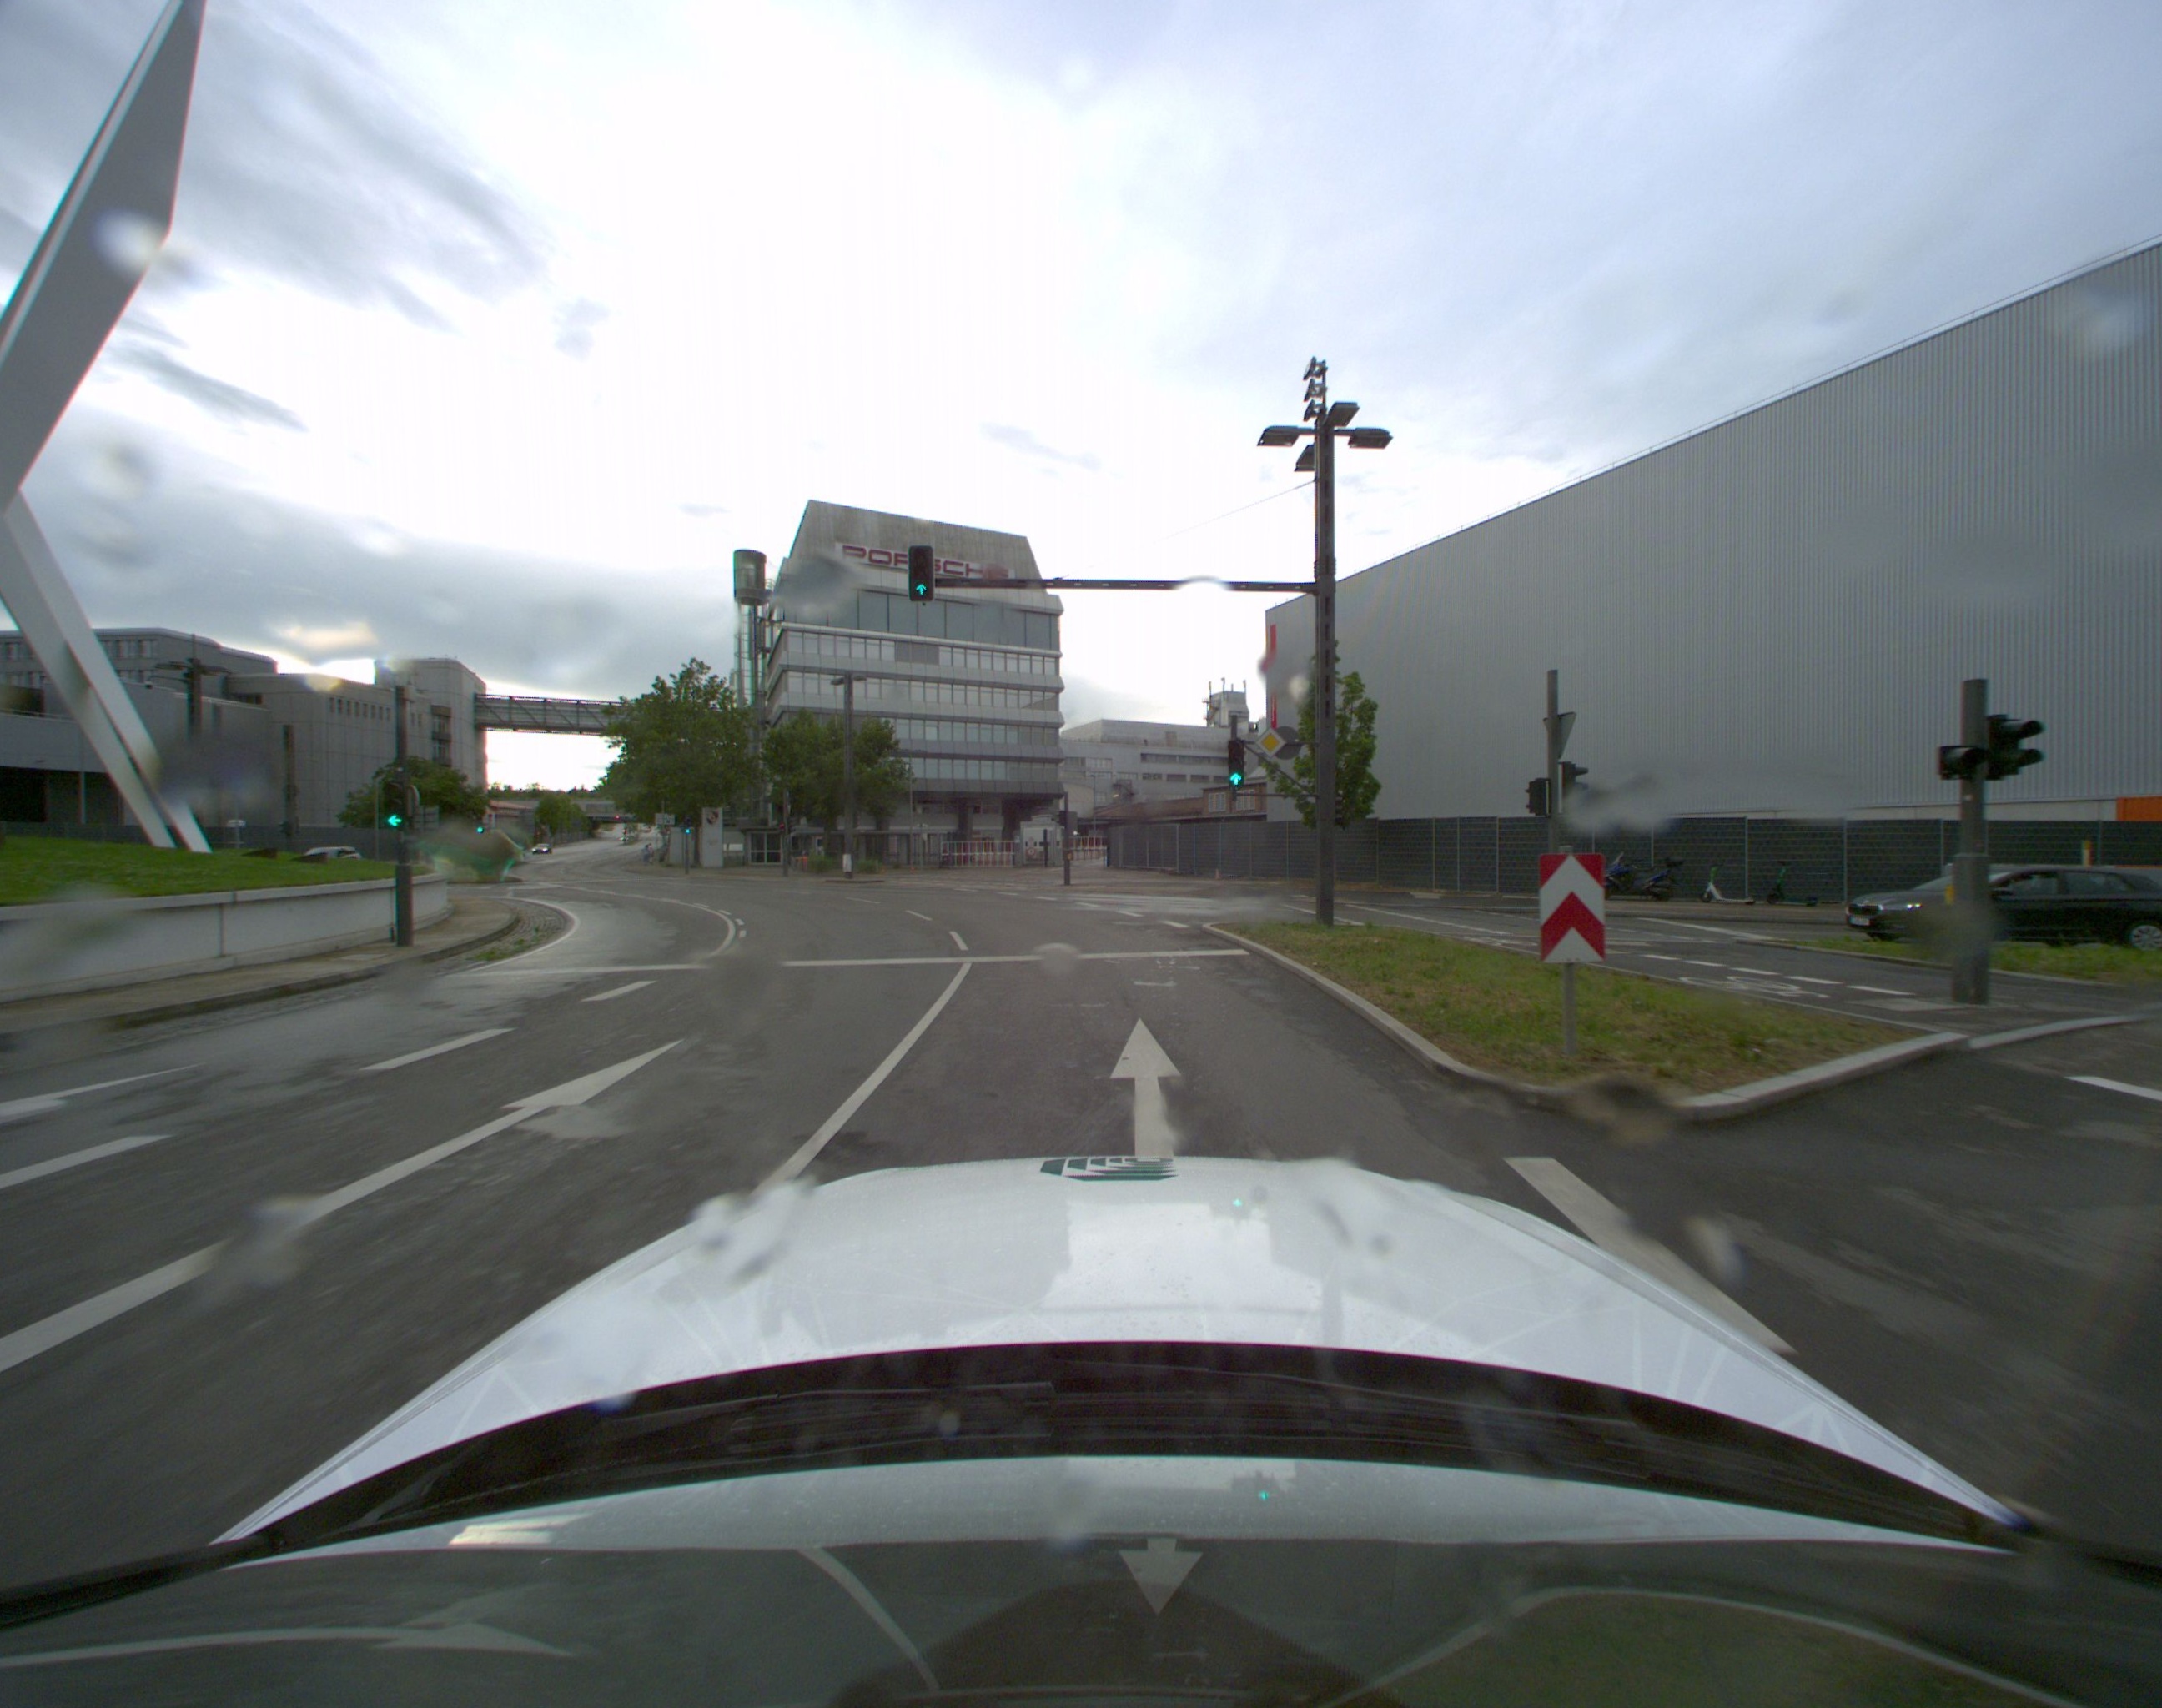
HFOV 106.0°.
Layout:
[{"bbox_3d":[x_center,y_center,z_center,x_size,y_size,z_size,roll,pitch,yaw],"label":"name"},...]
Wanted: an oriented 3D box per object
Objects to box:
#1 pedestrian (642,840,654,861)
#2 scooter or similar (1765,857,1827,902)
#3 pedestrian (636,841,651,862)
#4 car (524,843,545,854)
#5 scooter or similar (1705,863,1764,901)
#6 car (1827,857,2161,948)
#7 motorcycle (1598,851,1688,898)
[{"bbox_3d":[-32.563,-0.276,61.248,0.712,1.592,0.834,-1,1,-22],"label":"pedestrian"},{"bbox_3d":[20.302,0.714,23.145,1.254,1.199,0.427,1,1,27],"label":"scooter or similar"},{"bbox_3d":[-31.848,-0.161,59.321,0.834,1.520,0.836,-1,1,-21],"label":"pedestrian"},{"bbox_3d":[-77.078,-0.756,114.816,1.792,1.385,4.507,-3,2,-26],"label":"car"},{"bbox_3d":[18.671,0.778,23.285,0.388,1.029,1.255,0,1,-44],"label":"scooter or similar"},{"bbox_3d":[15.995,0.784,14.295,3.957,1.425,1.728,0,0,15],"label":"car"},{"bbox_3d":[16.378,0.592,23.779,2.080,1.310,0.658,1,1,12],"label":"motorcycle"}]
